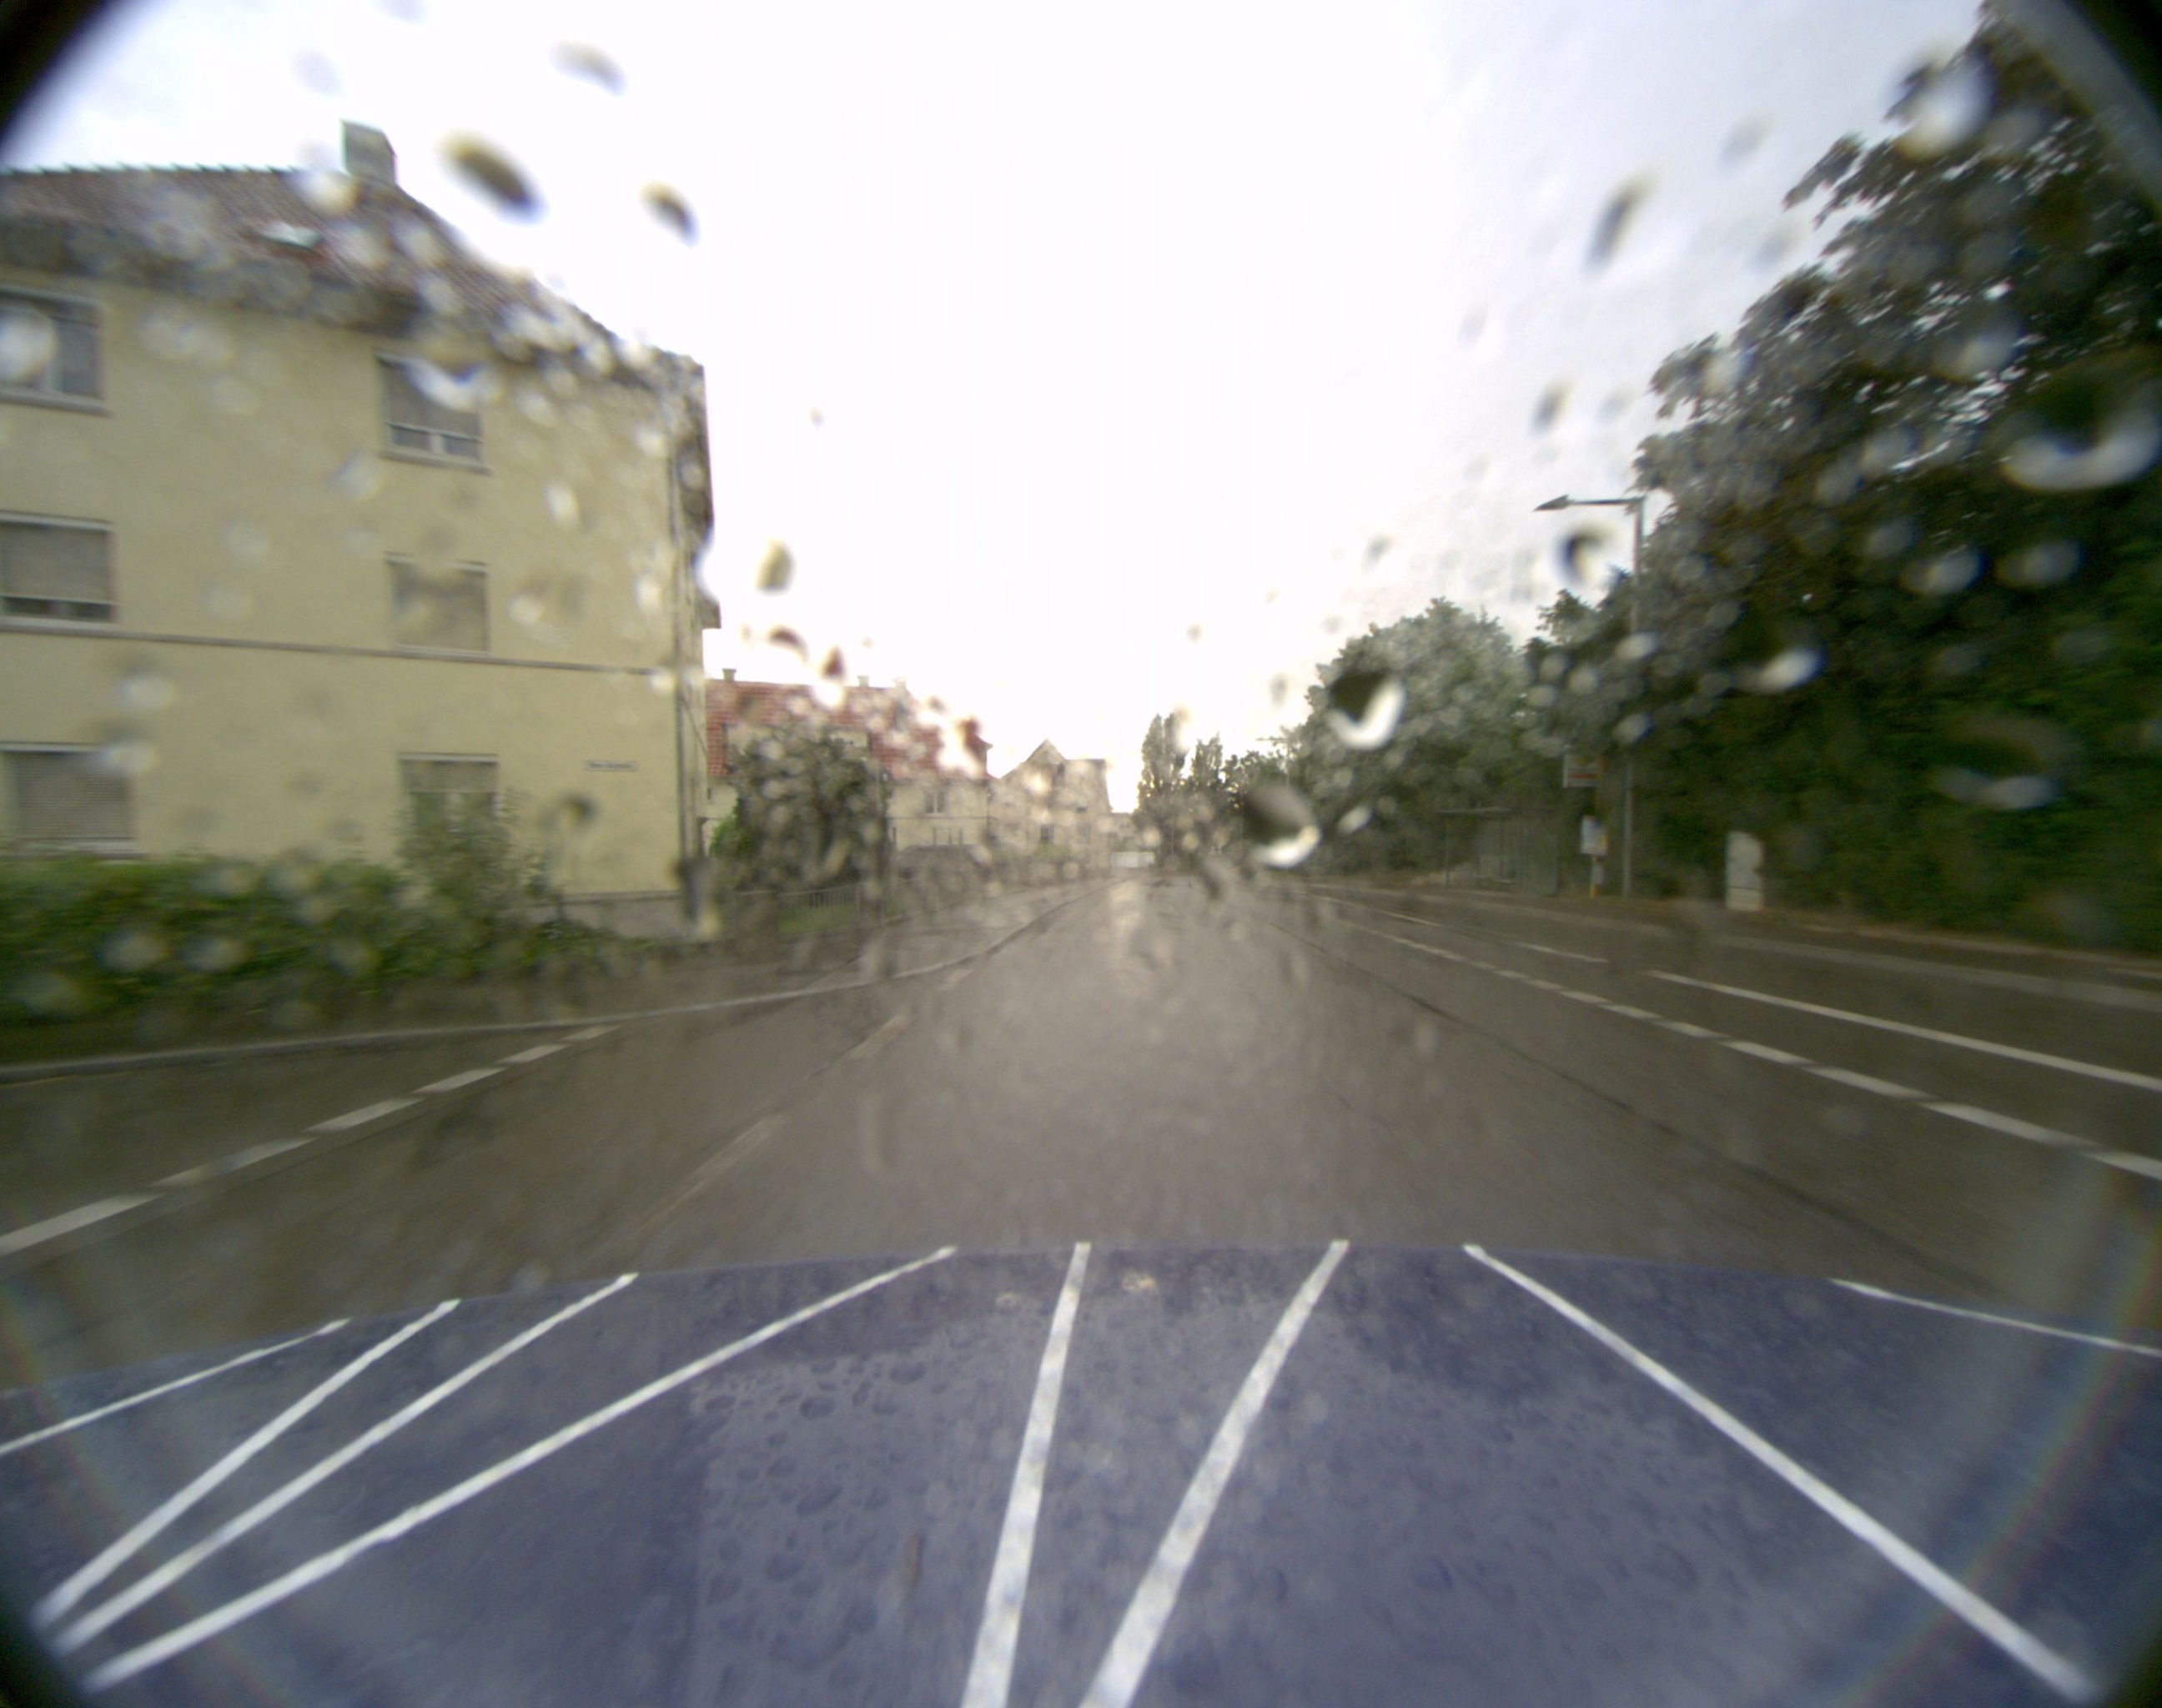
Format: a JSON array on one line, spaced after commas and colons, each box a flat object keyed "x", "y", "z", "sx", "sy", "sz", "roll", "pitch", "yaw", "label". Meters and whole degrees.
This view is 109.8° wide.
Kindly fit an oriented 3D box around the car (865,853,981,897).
[{"x": -5.344, "y": 0.695, "z": 25.628, "sx": 3.530, "sy": 1.331, "sz": 1.684, "roll": 1, "pitch": 2, "yaw": -25, "label": "car"}]

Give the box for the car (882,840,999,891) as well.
[{"x": -5.208, "y": 0.433, "z": 28.166, "sx": 3.940, "sy": 1.772, "sz": 1.767, "roll": 1, "pitch": 2, "yaw": -23, "label": "car"}]
